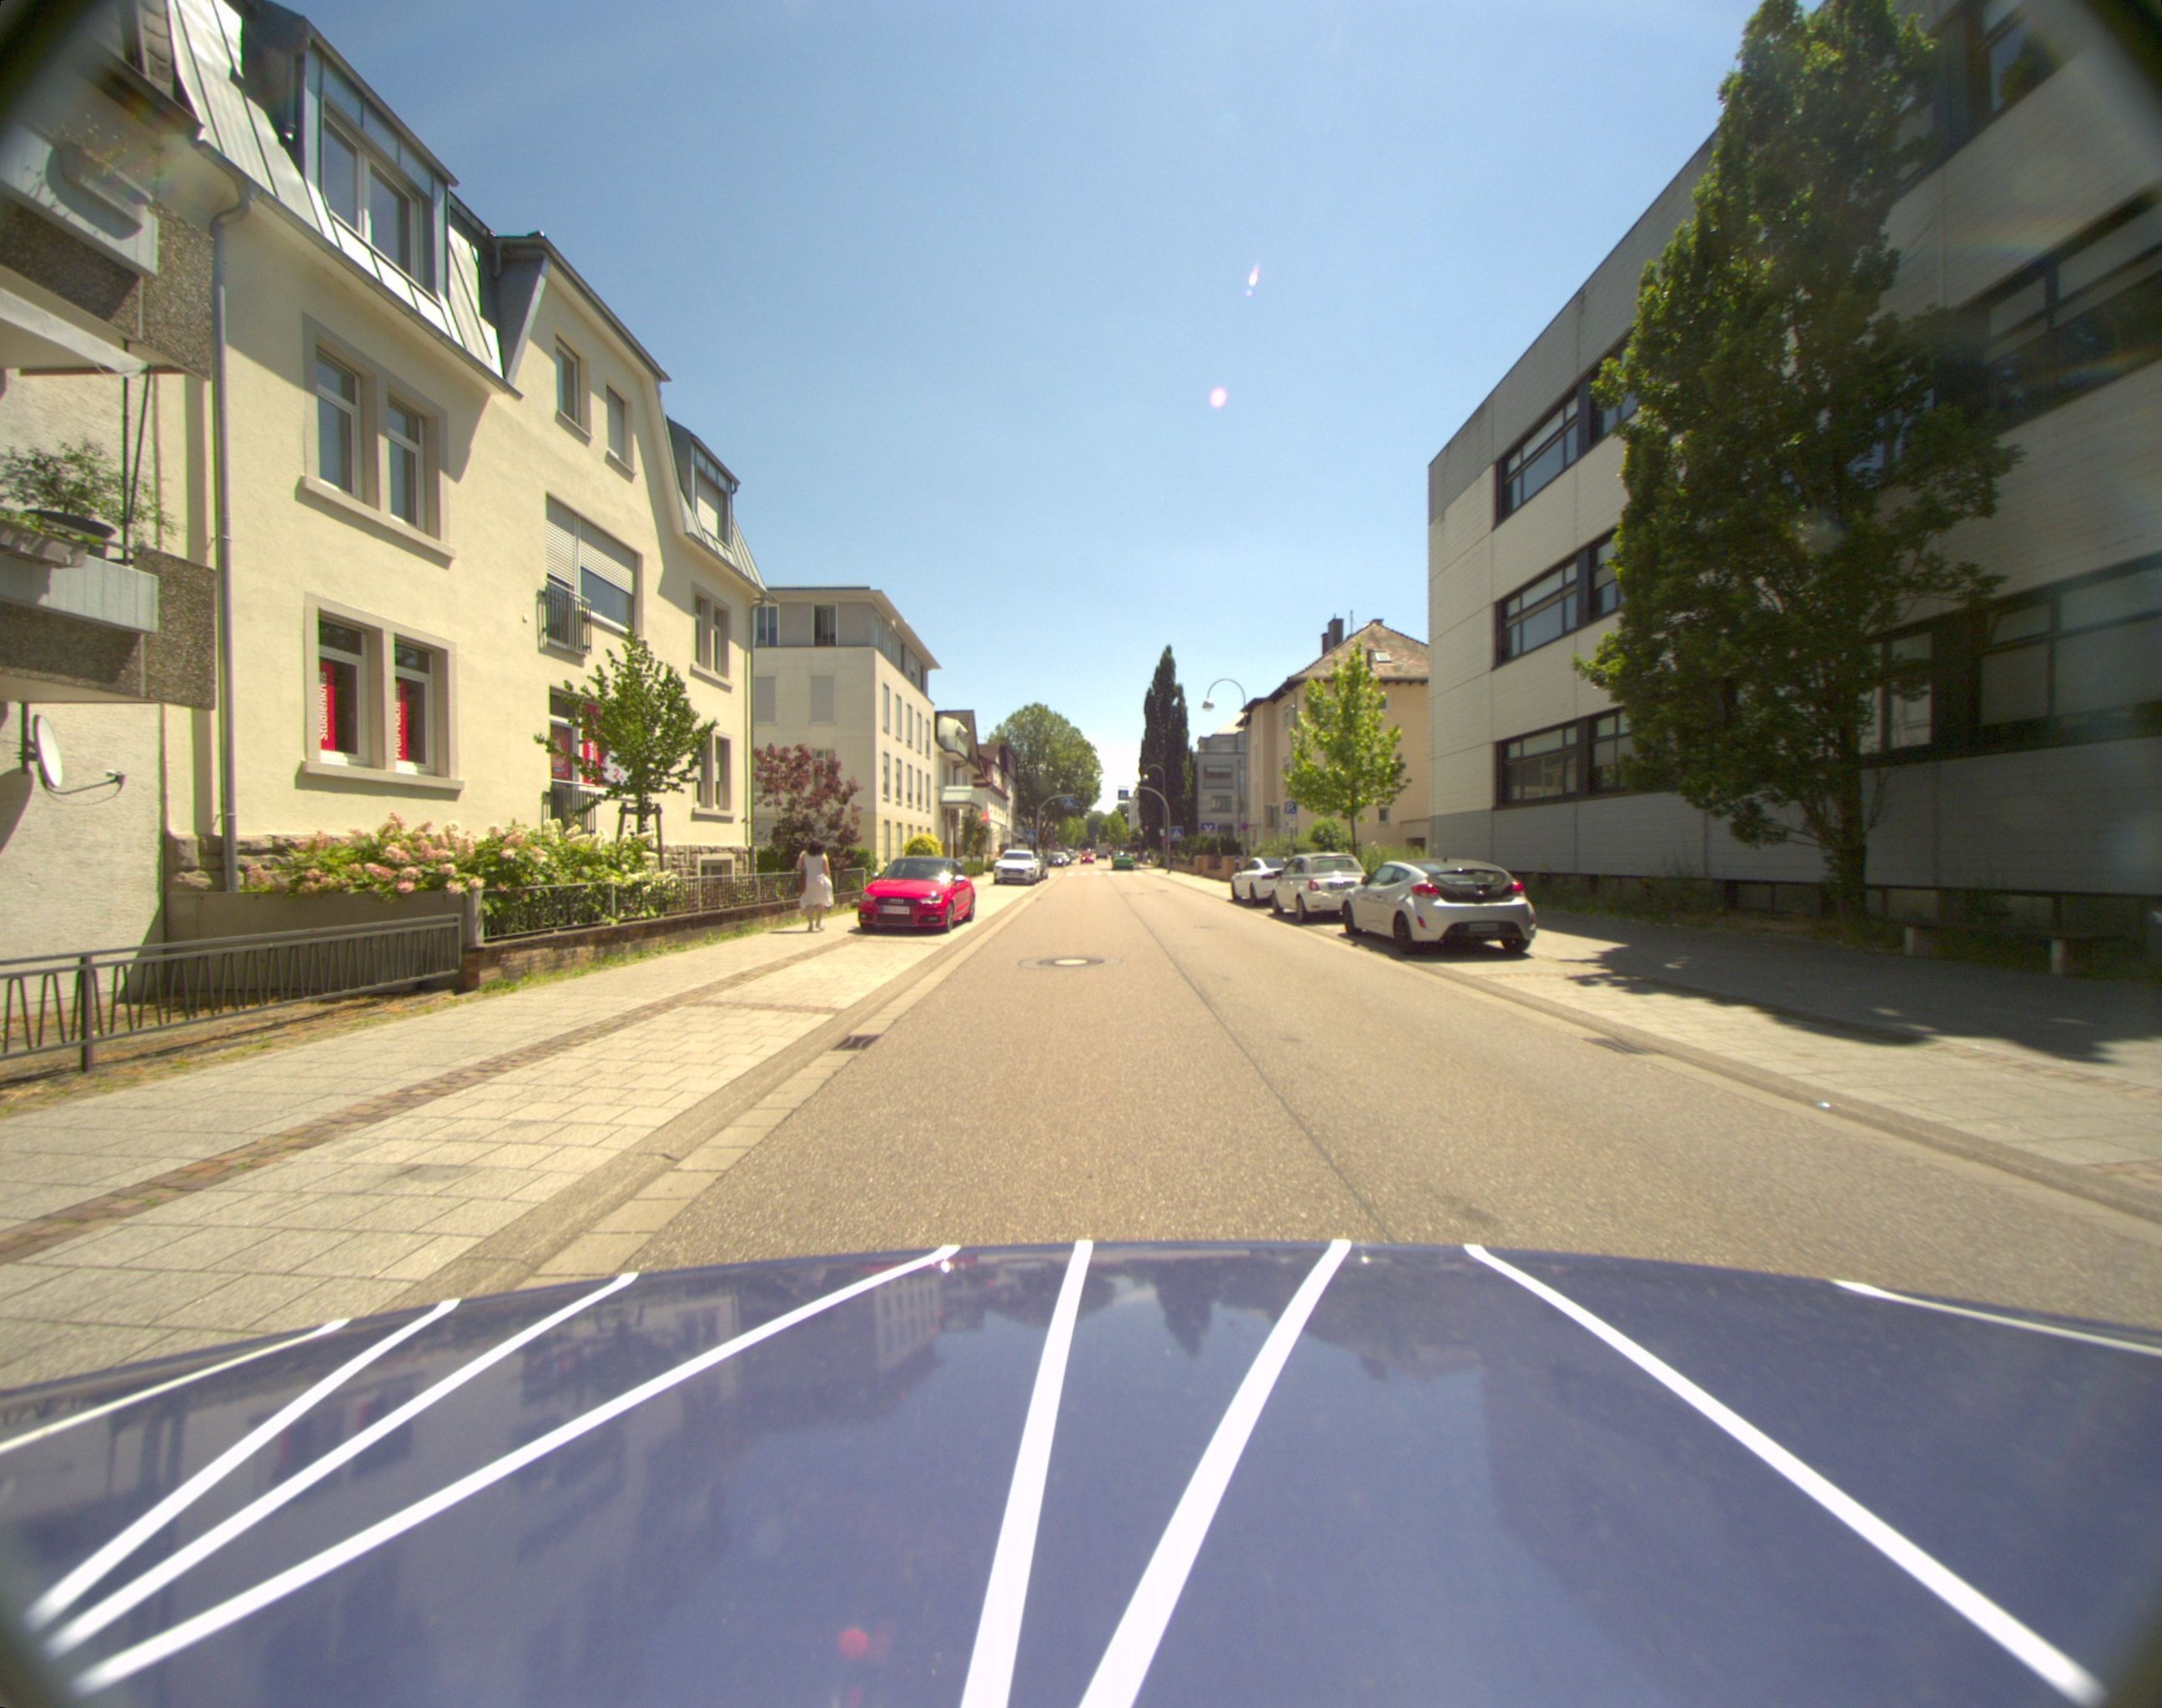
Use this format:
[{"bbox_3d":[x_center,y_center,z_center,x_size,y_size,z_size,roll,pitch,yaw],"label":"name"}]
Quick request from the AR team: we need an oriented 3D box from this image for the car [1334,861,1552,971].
[{"bbox_3d":[5.615,0.871,12.378,1.752,1.401,3.933,-1,0,2],"label":"car"}]

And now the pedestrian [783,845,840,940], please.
[{"bbox_3d":[-4.867,0.678,13.759,0.742,1.660,0.706,2,1,-1],"label":"pedestrian"}]

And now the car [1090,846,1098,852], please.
[{"bbox_3d":[3.401,-1.268,201.148,1.732,1.500,4.291,-1,2,-1],"label":"car"}]

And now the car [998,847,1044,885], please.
[{"bbox_3d":[-2.839,0.515,36.900,1.709,1.656,4.579,3,1,1],"label":"car"}]

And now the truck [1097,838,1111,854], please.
[{"bbox_3d":[4.381,-1.416,142.160,2.425,2.966,6.258,0,0,3],"label":"truck"}]

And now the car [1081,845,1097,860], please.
[{"bbox_3d":[0.986,-0.194,95.515,2.000,1.880,4.293,-2,1,0],"label":"car"}]

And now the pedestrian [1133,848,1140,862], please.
[{"bbox_3d":[6.665,0.156,91.152,0.622,1.667,0.903,-3,1,0],"label":"pedestrian"}]

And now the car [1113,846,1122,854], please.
[{"bbox_3d":[7.331,-0.807,153.608,1.731,1.661,4.293,-1,1,0],"label":"car"}]

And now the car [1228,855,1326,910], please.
[{"bbox_3d":[5.775,0.775,22.979,1.827,1.403,4.577,-1,1,1],"label":"car"}]

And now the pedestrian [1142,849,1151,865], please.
[{"bbox_3d":[7.168,0.321,82.961,0.847,1.635,0.751,-3,1,2],"label":"pedestrian"}]

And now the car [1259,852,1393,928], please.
[{"bbox_3d":[5.642,0.756,18.051,1.827,1.503,4.289,-2,1,1],"label":"car"}]

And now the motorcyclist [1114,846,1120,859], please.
[{"bbox_3d":[4.051,-0.198,85.775,0.700,1.425,0.707,0,1,1],"label":"motorcyclist"}]

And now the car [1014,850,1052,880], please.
[{"bbox_3d":[-2.642,0.582,42.945,1.709,1.547,4.748,2,0,1],"label":"car"}]

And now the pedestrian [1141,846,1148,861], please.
[{"bbox_3d":[7.634,-0.074,91.001,0.750,1.760,0.951,-1,1,0],"label":"pedestrian"}]

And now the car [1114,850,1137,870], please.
[{"bbox_3d":[3.775,0.468,65.012,1.826,1.579,4.100,-1,0,2],"label":"car"}]

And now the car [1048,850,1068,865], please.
[{"bbox_3d":[-2.293,0.361,76.638,1.831,1.418,4.700,1,1,1],"label":"car"}]

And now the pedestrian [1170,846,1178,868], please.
[{"bbox_3d":[7.177,0.215,58.587,0.538,1.675,0.708,-1,1,1],"label":"pedestrian"}]

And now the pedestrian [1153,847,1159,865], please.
[{"bbox_3d":[6.896,0.201,69.772,0.538,1.675,0.708,-1,1,1],"label":"pedestrian"}]

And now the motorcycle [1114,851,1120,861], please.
[{"bbox_3d":[4.053,0.264,85.714,0.700,1.101,1.790,0,1,1],"label":"motorcycle"}]

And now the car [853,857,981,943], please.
[{"bbox_3d":[-3.181,0.831,15.508,1.607,1.432,3.853,3,0,2],"label":"car"}]

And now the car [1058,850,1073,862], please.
[{"bbox_3d":[-1.765,0.197,87.746,1.561,1.333,4.173,1,1,0],"label":"car"}]
